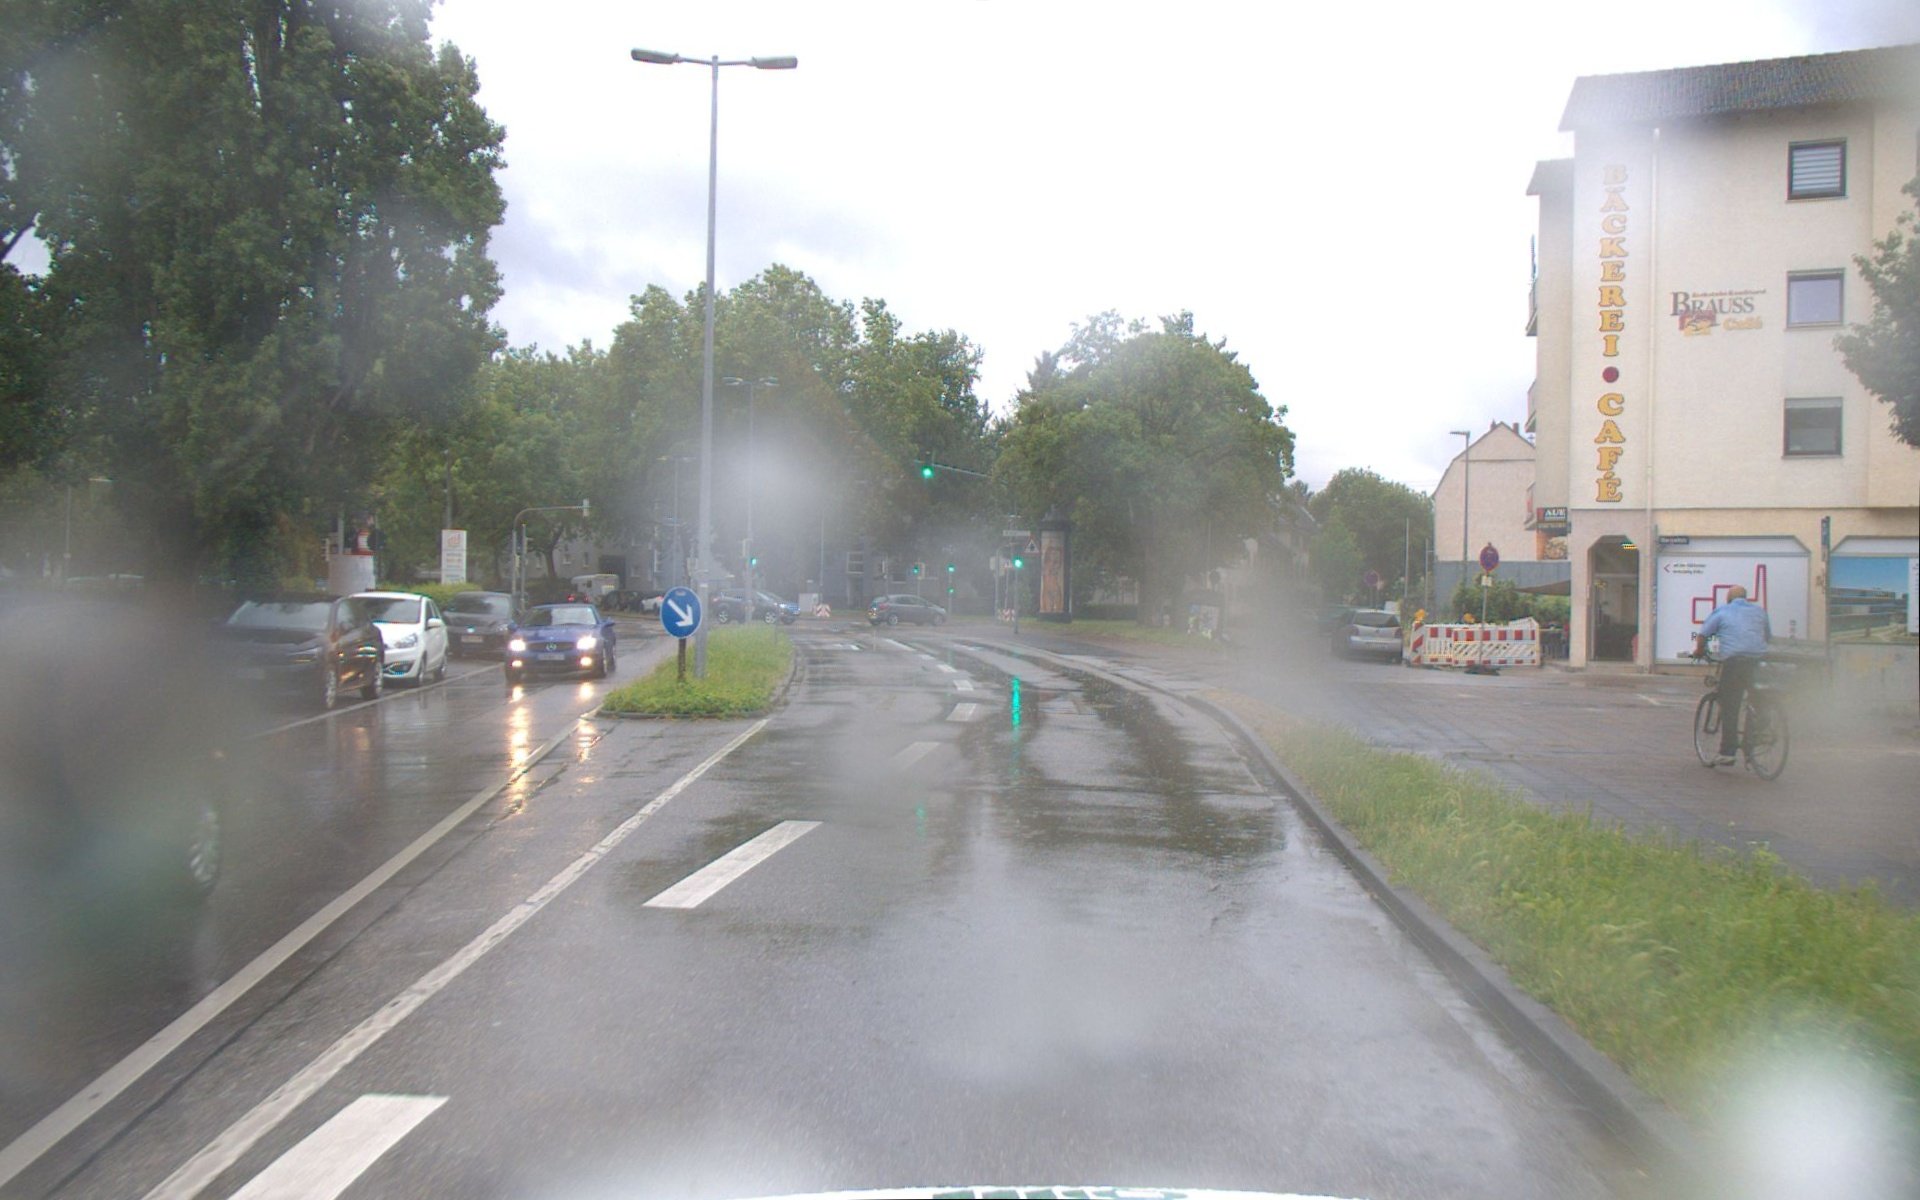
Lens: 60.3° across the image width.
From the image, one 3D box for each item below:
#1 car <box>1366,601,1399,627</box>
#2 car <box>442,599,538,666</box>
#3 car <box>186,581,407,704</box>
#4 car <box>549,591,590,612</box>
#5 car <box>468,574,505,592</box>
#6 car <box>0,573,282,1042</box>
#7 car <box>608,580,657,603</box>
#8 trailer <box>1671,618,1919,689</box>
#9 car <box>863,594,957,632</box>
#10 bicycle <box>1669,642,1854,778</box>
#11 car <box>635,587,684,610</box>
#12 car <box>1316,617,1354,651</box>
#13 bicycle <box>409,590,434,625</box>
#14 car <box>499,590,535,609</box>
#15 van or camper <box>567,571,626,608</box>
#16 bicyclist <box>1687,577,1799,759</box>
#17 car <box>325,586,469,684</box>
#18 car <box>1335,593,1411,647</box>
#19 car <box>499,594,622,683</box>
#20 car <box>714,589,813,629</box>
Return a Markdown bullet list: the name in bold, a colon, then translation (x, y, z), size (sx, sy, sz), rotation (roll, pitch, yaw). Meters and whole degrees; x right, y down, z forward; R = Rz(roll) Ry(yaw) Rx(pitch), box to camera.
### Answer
- **car**: translation (37.435, 1.236, 146.543), size (2.301, 2.247, 4.613), rotation (1, 0, 20)
- **car**: translation (-10.859, 0.715, 38.426), size (1.515, 1.422, 4.186), rotation (3, 0, -8)
- **car**: translation (-8.714, 0.526, 22.096), size (1.694, 1.407, 4.172), rotation (3, -1, -8)
- **car**: translation (-28.956, 0.078, 122.651), size (1.692, 1.436, 3.599), rotation (-2, 2, -36)
- **car**: translation (-43.583, -1.568, 152.167), size (1.901, 1.648, 4.314), rotation (2, 0, -37)
- **car**: translation (-4.106, 0.695, 6.442), size (1.673, 1.527, 3.940), rotation (-1, 0, -7)
- **car**: translation (-24.550, -0.642, 123.866), size (1.901, 1.648, 4.396), rotation (2, 0, -37)
- **trailer**: translation (16.952, 1.059, 33.684), size (4.431, 1.253, 1.822), rotation (2, 0, 27)
- **car**: translation (-2.331, 0.624, 77.414), size (4.047, 1.630, 1.973), rotation (2, -1, -38)
- **bicycle**: translation (7.295, 0.969, 15.171), size (0.659, 1.078, 1.971), rotation (2, 1, -2)
- **car**: translation (-19.153, -0.110, 105.411), size (1.692, 1.436, 3.599), rotation (-2, 2, -36)
- **car**: translation (19.481, 1.756, 85.873), size (1.814, 1.683, 4.308), rotation (2, 0, 13)
- **bicycle**: translation (-17.224, 0.227, 52.960), size (0.546, 1.096, 1.790), rotation (2, 0, -12)
- **car**: translation (-36.176, -0.042, 134.916), size (1.692, 1.436, 3.599), rotation (-2, 2, -36)
- **van or camper**: translation (-29.059, -0.855, 132.089), size (2.298, 2.856, 6.783), rotation (2, -1, -34)
- **bicyclist**: translation (7.159, 0.604, 15.152), size (0.625, 1.610, 0.715), rotation (2, 0, -2)
- **car**: translation (-9.375, 0.550, 27.802), size (1.572, 1.500, 4.113), rotation (2, 0, -9)
- **car**: translation (11.989, 0.566, 48.194), size (1.599, 1.458, 4.179), rotation (2, 0, 7)
- **car**: translation (-7.071, 0.641, 29.571), size (1.694, 1.418, 3.943), rotation (-2, 0, -8)
- **car**: translation (-9.317, 0.415, 78.499), size (4.199, 1.774, 2.002), rotation (2, 0, 12)
